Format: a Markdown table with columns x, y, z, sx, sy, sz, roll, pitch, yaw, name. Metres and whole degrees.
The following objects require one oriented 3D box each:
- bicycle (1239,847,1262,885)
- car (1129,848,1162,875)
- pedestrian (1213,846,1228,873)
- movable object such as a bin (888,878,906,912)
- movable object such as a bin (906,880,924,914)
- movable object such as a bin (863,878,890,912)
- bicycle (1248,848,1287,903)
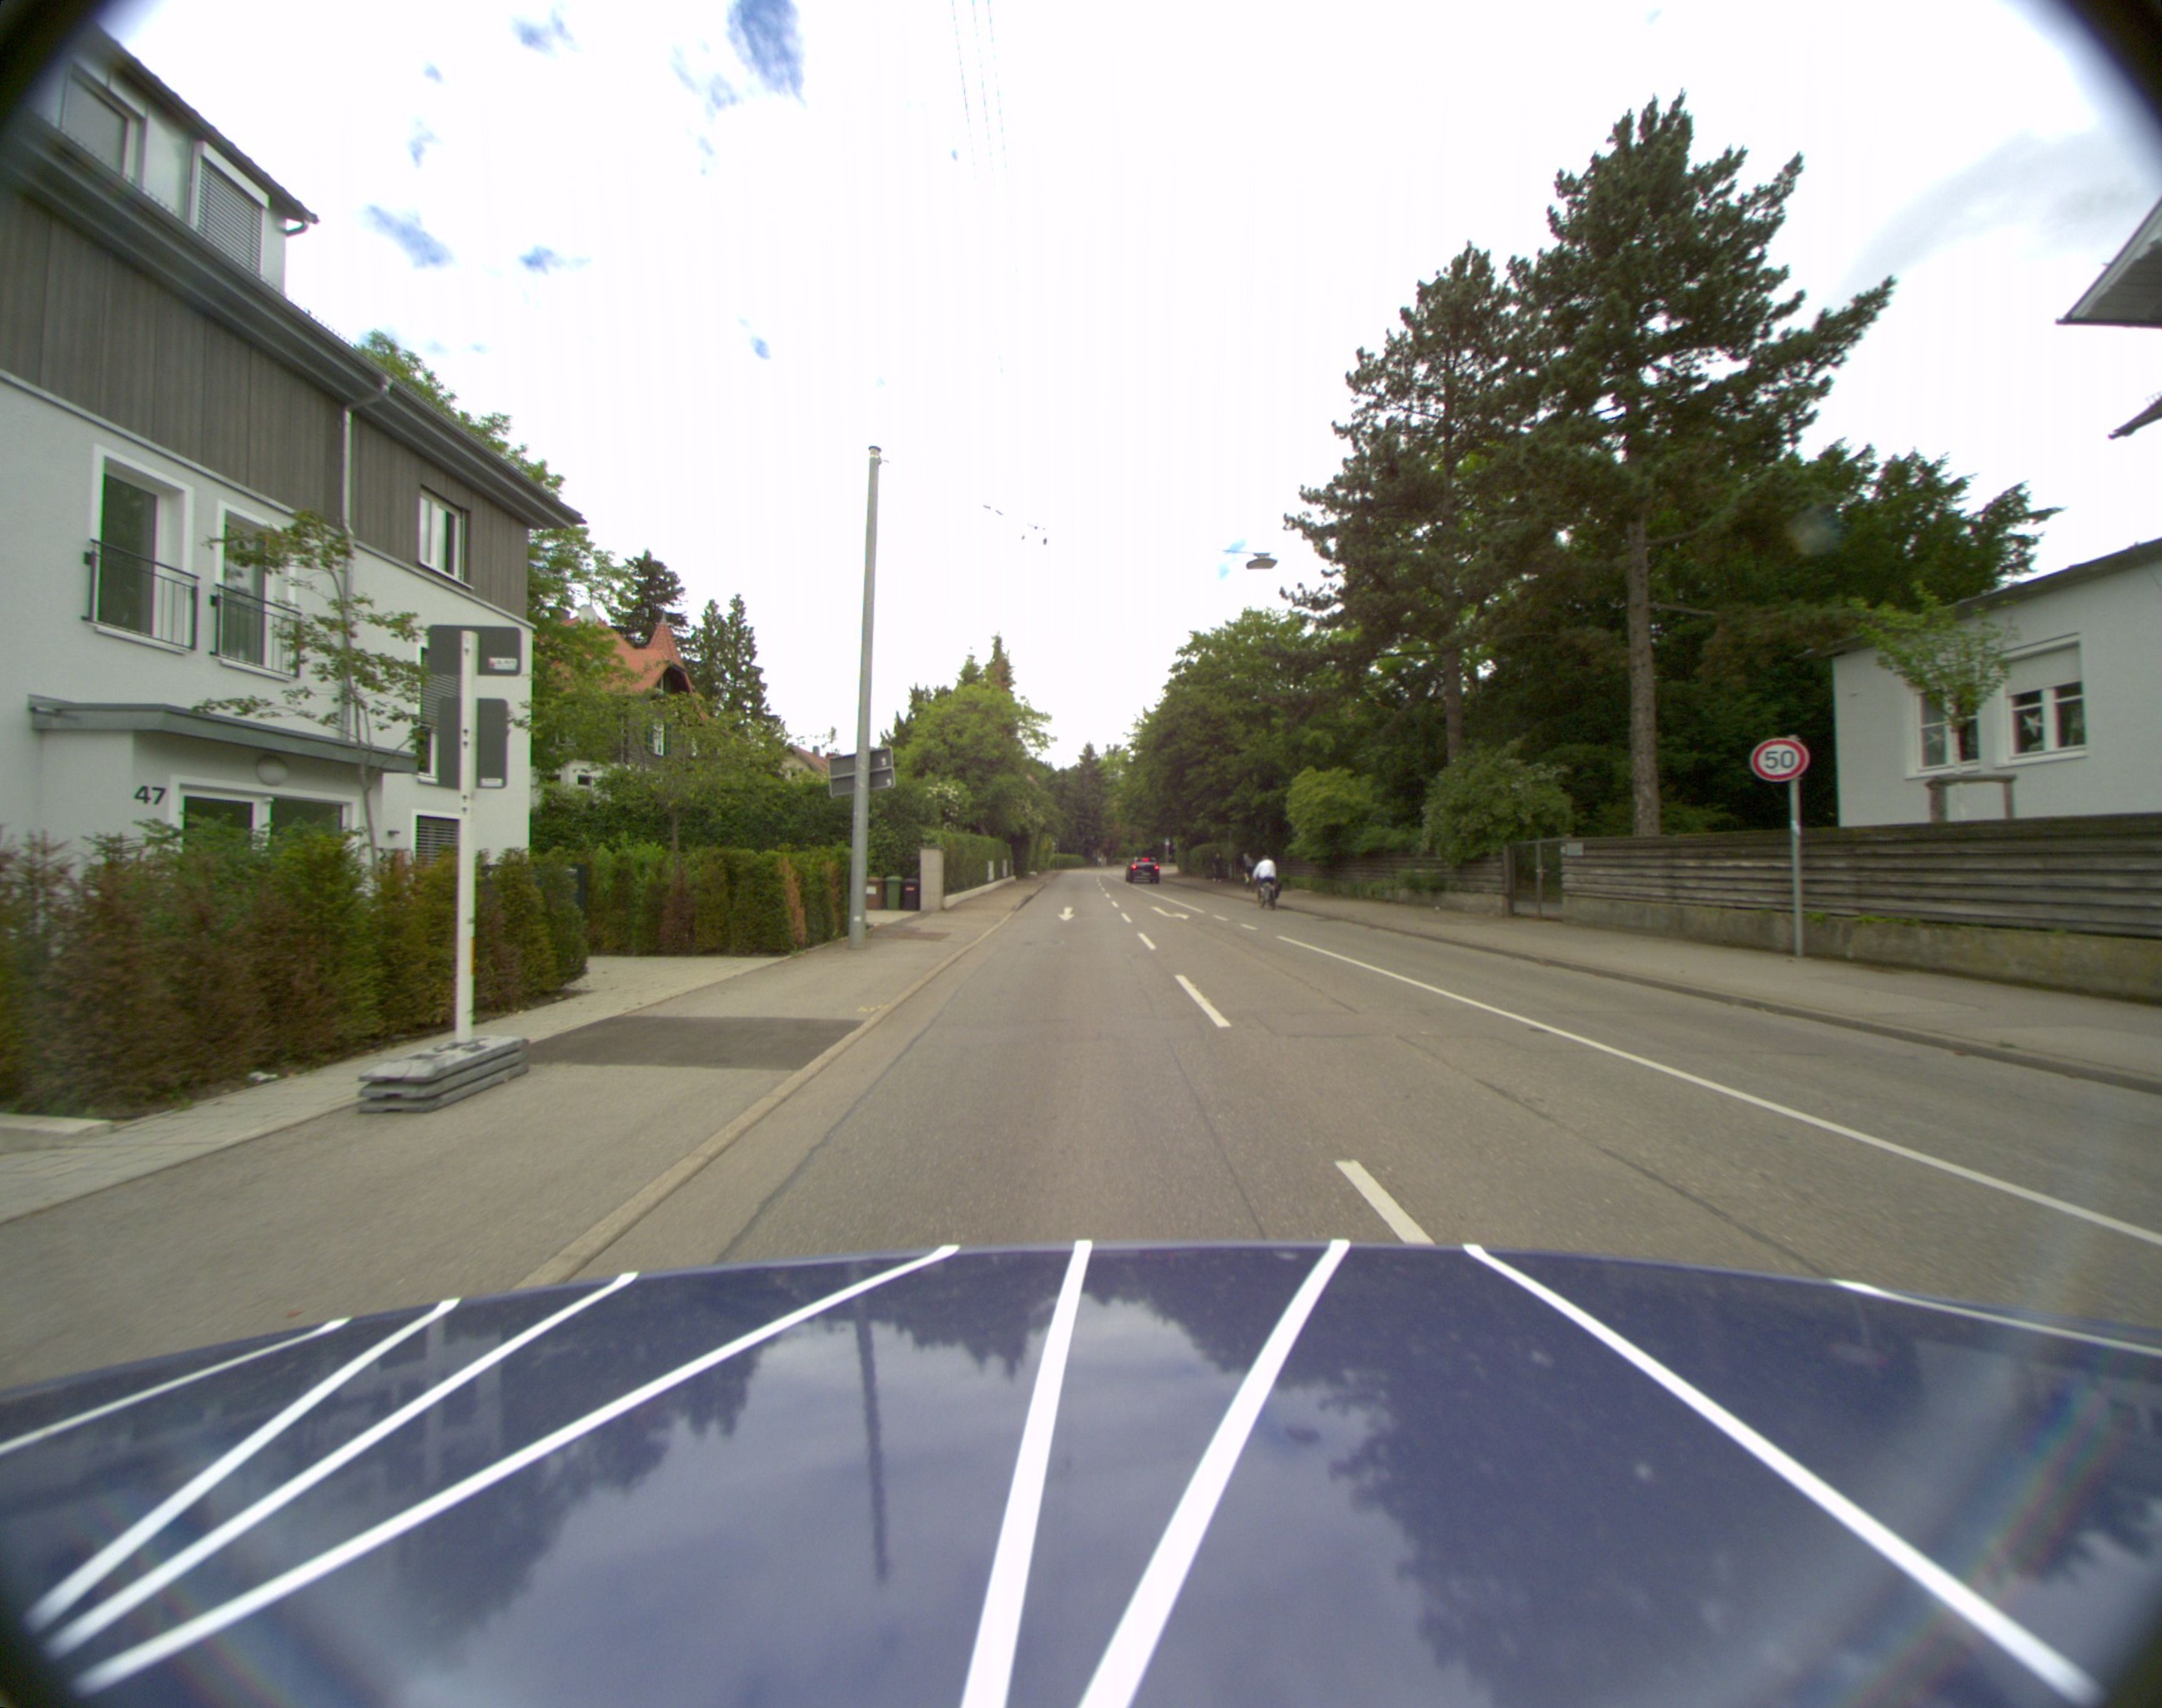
| x | y | z | sx | sy | sz | roll | pitch | yaw | name |
| --- | --- | --- | --- | --- | --- | --- | --- | --- | --- |
| 7.564 | 0.517 | 33.960 | 0.563 | 1.666 | 1.980 | -1 | 0 | -1 | bicycle |
| 4.116 | 0.465 | 49.084 | 1.836 | 1.621 | 4.282 | 1 | 0 | 1 | car |
| 8.692 | 0.343 | 47.405 | 0.631 | 1.652 | 0.918 | -1 | 1 | -13 | pedestrian |
| -5.286 | 1.167 | 21.805 | 0.467 | 0.932 | 0.604 | 0 | 0 | -18 | movable object such as a bin |
| -4.728 | 1.208 | 21.637 | 0.466 | 0.932 | 0.604 | 0 | 0 | -11 | movable object such as a bin |
| -5.775 | 1.142 | 21.461 | 0.465 | 0.932 | 0.605 | 2 | -1 | 17 | movable object such as a bin |
| 6.120 | 0.688 | 25.069 | 0.761 | 1.734 | 1.871 | 1 | 0 | -1 | bicycle |
